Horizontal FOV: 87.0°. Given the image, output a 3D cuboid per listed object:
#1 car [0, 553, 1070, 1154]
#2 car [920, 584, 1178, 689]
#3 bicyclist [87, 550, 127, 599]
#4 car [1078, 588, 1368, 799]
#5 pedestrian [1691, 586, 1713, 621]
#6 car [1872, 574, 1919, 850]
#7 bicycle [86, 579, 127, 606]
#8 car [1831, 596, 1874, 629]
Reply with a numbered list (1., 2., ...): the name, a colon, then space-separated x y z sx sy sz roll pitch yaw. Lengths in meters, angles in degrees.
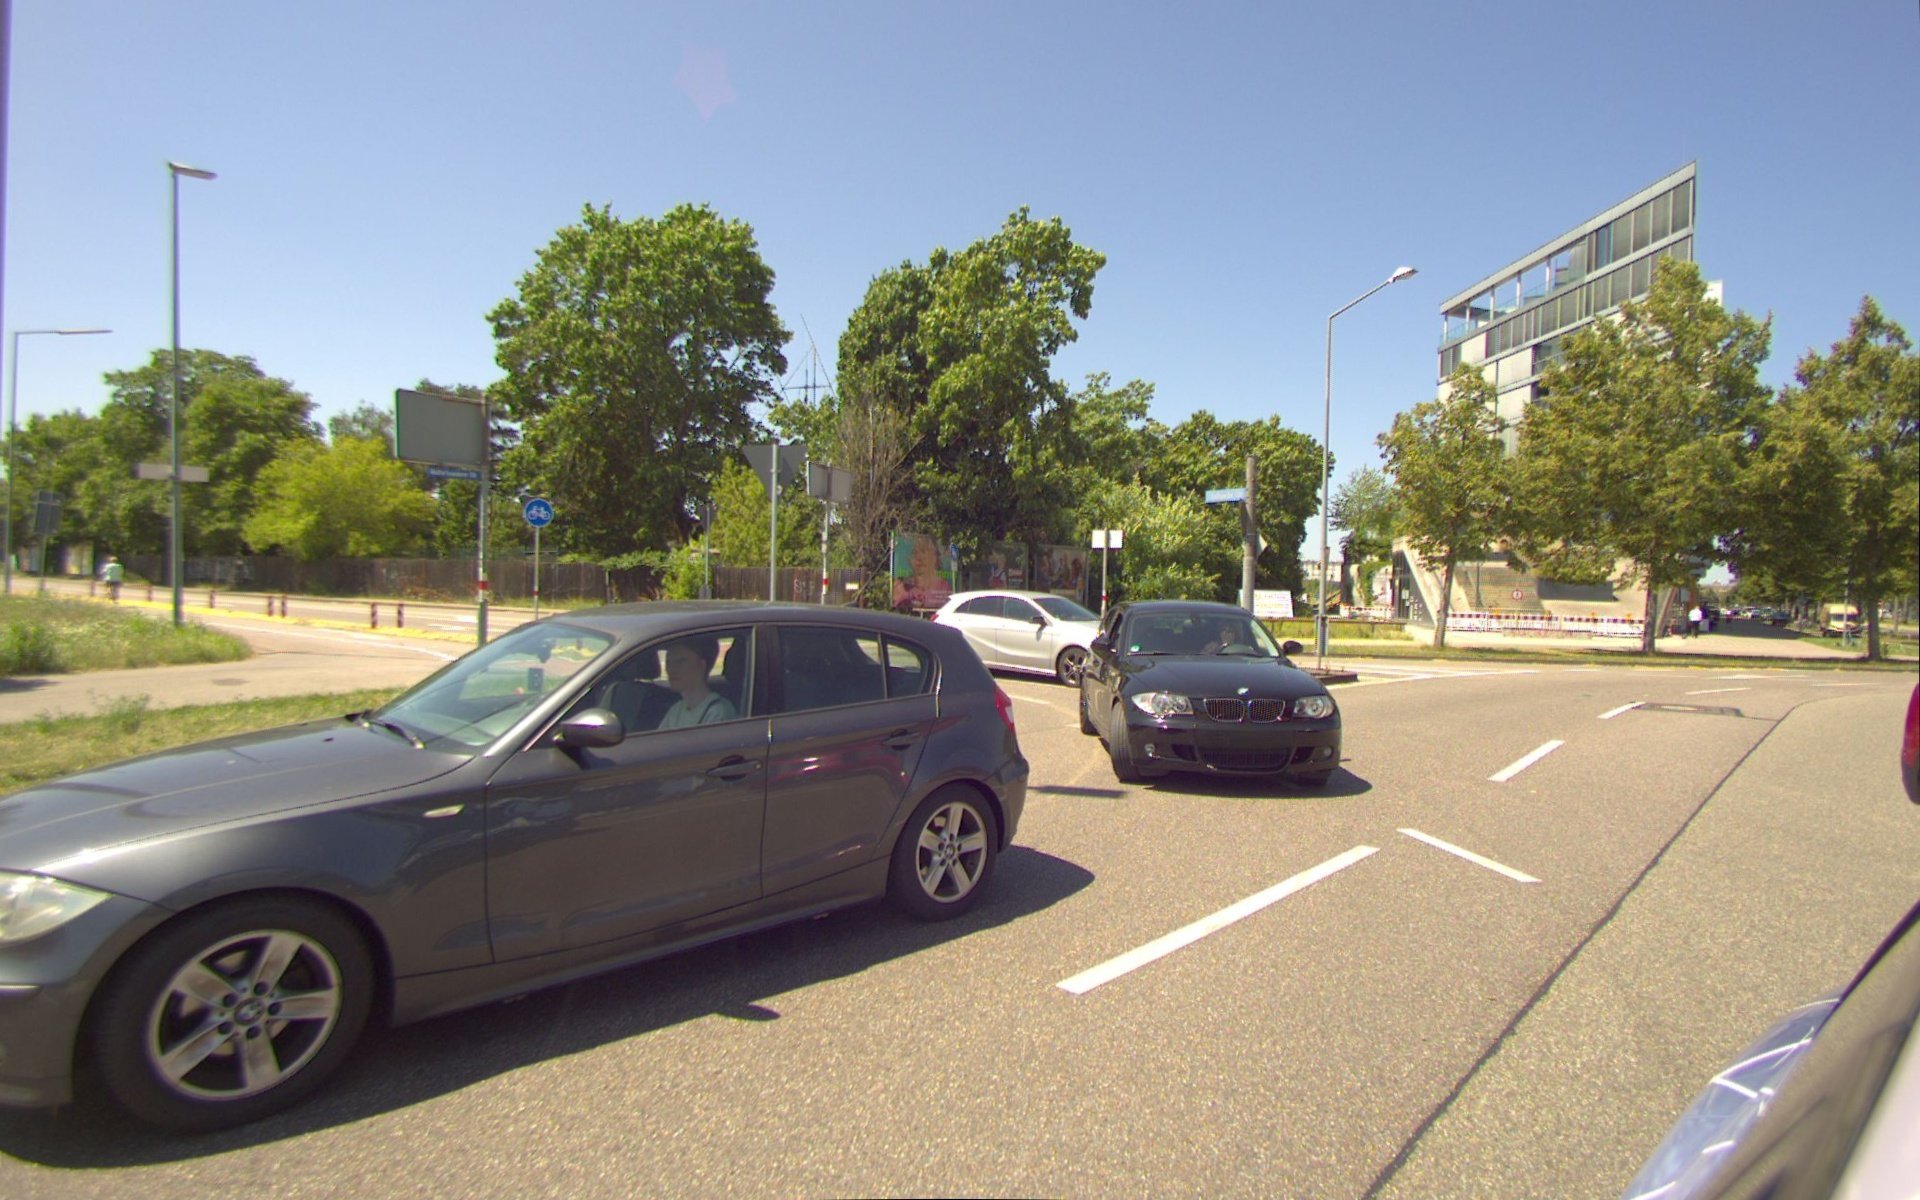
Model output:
1. car: -1.535 0.602 4.238 4.010 1.421 1.750 1 0 -42
2. car: 1.399 0.505 16.809 3.983 1.446 1.837 2 2 41
3. bicyclist: -29.926 -0.899 35.510 1.154 1.661 0.740 2 0 32
4. car: 2.080 0.630 9.141 1.770 1.458 3.997 0 1 3
5. pedestrian: 41.999 0.193 57.310 0.601 1.892 0.834 -1 2 -40
6. car: 6.057 0.653 3.805 1.691 1.547 4.205 2 0 6
7. bicycle: -29.883 -0.280 35.433 1.864 0.890 0.621 2 2 35
8. car: 71.587 1.015 81.205 1.986 2.540 3.952 2 0 33
